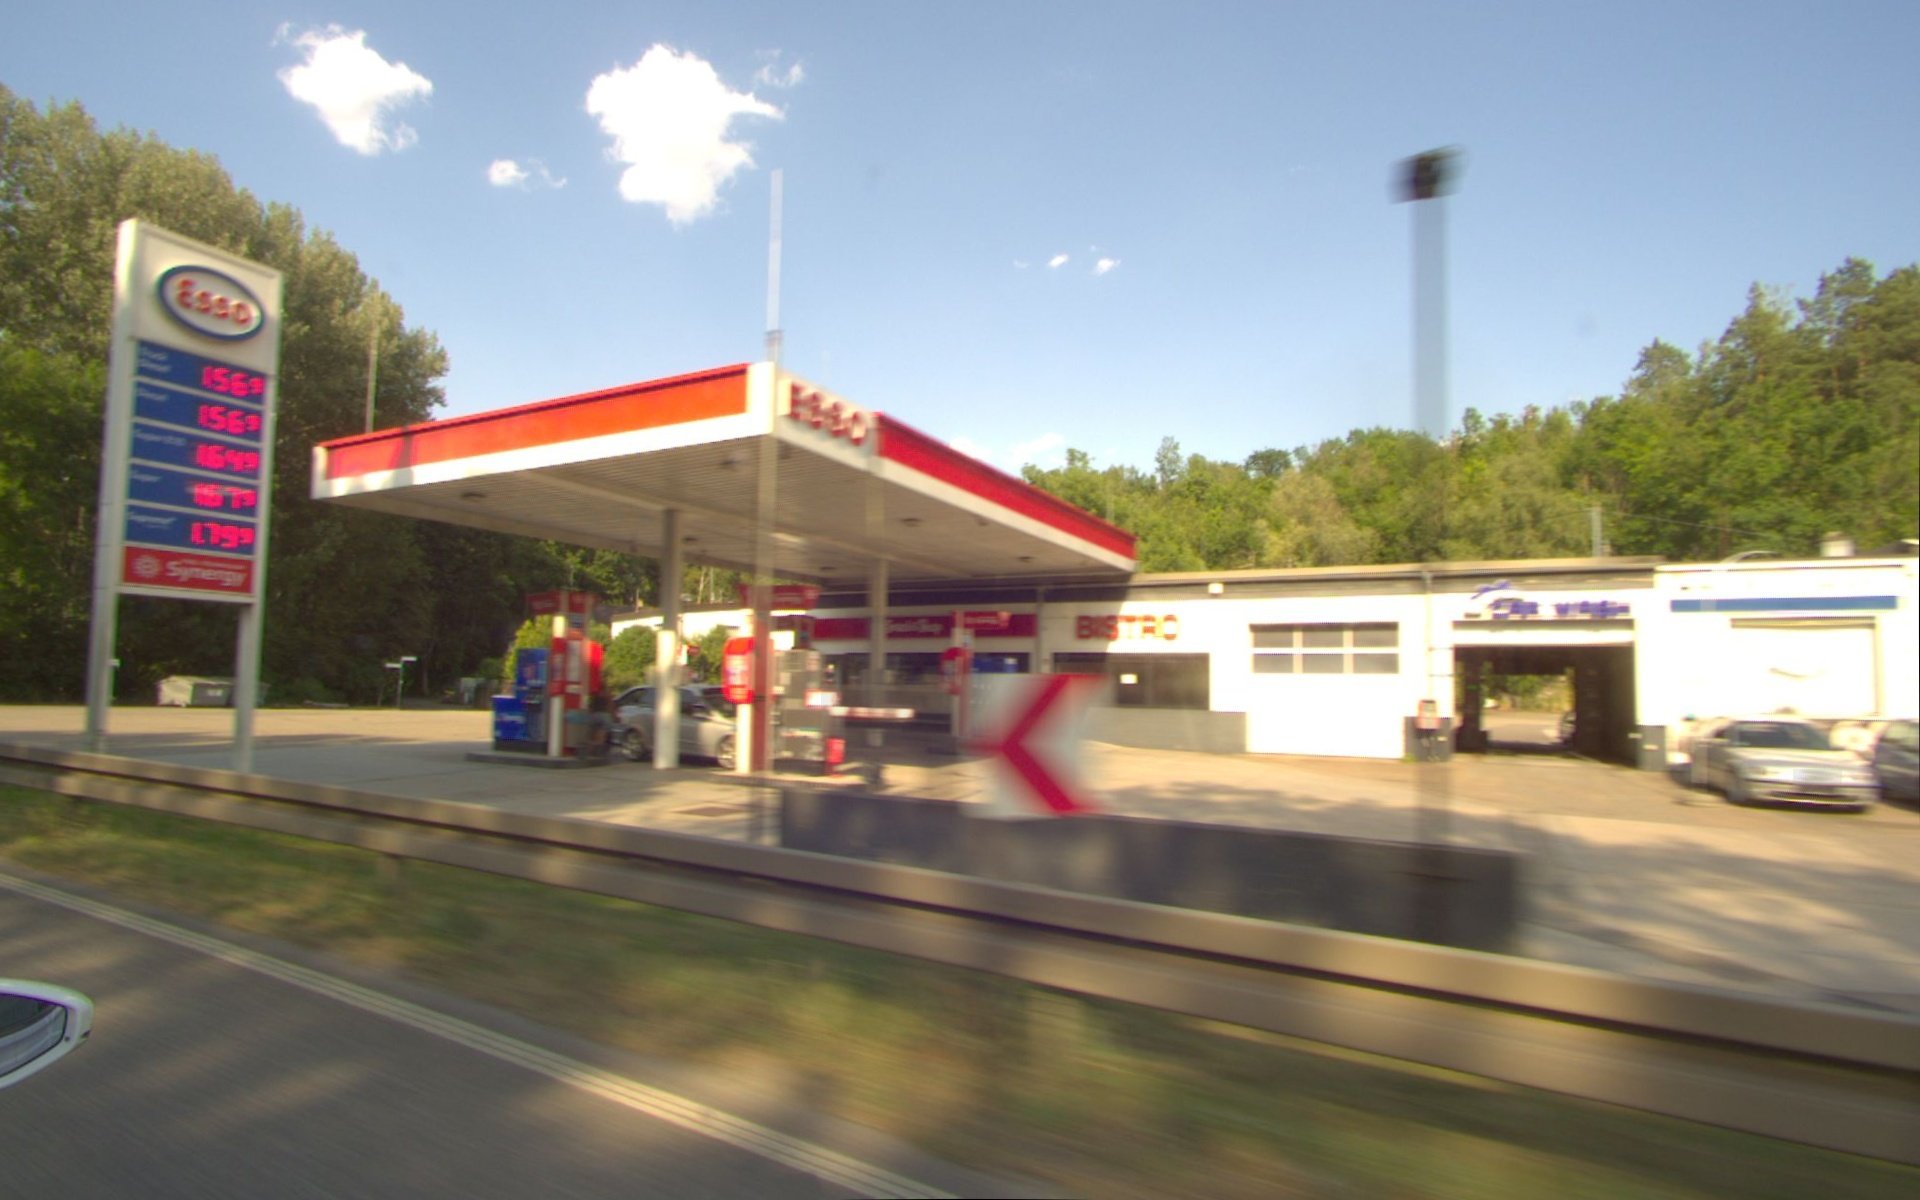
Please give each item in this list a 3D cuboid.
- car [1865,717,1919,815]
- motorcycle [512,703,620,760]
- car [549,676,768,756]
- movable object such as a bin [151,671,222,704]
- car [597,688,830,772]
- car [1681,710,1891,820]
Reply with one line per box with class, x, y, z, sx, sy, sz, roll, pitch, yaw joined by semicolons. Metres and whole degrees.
car;16.023;2.669;15.864;1.665;1.423;3.551;-1;-4;28
motorcycle;-8.178;2.697;20.757;2.305;1.024;0.762;-1;-4;28
car;-7.387;2.756;24.482;5.099;1.647;2.093;-1;-4;28
movable object such as a bin;-36.507;4.127;47.261;2.510;1.436;1.271;0;-6;14
car;-4.863;2.472;19.658;4.323;1.335;1.842;-1;-4;29
car;13.833;2.691;17.049;1.747;1.371;3.960;-1;-3;24
